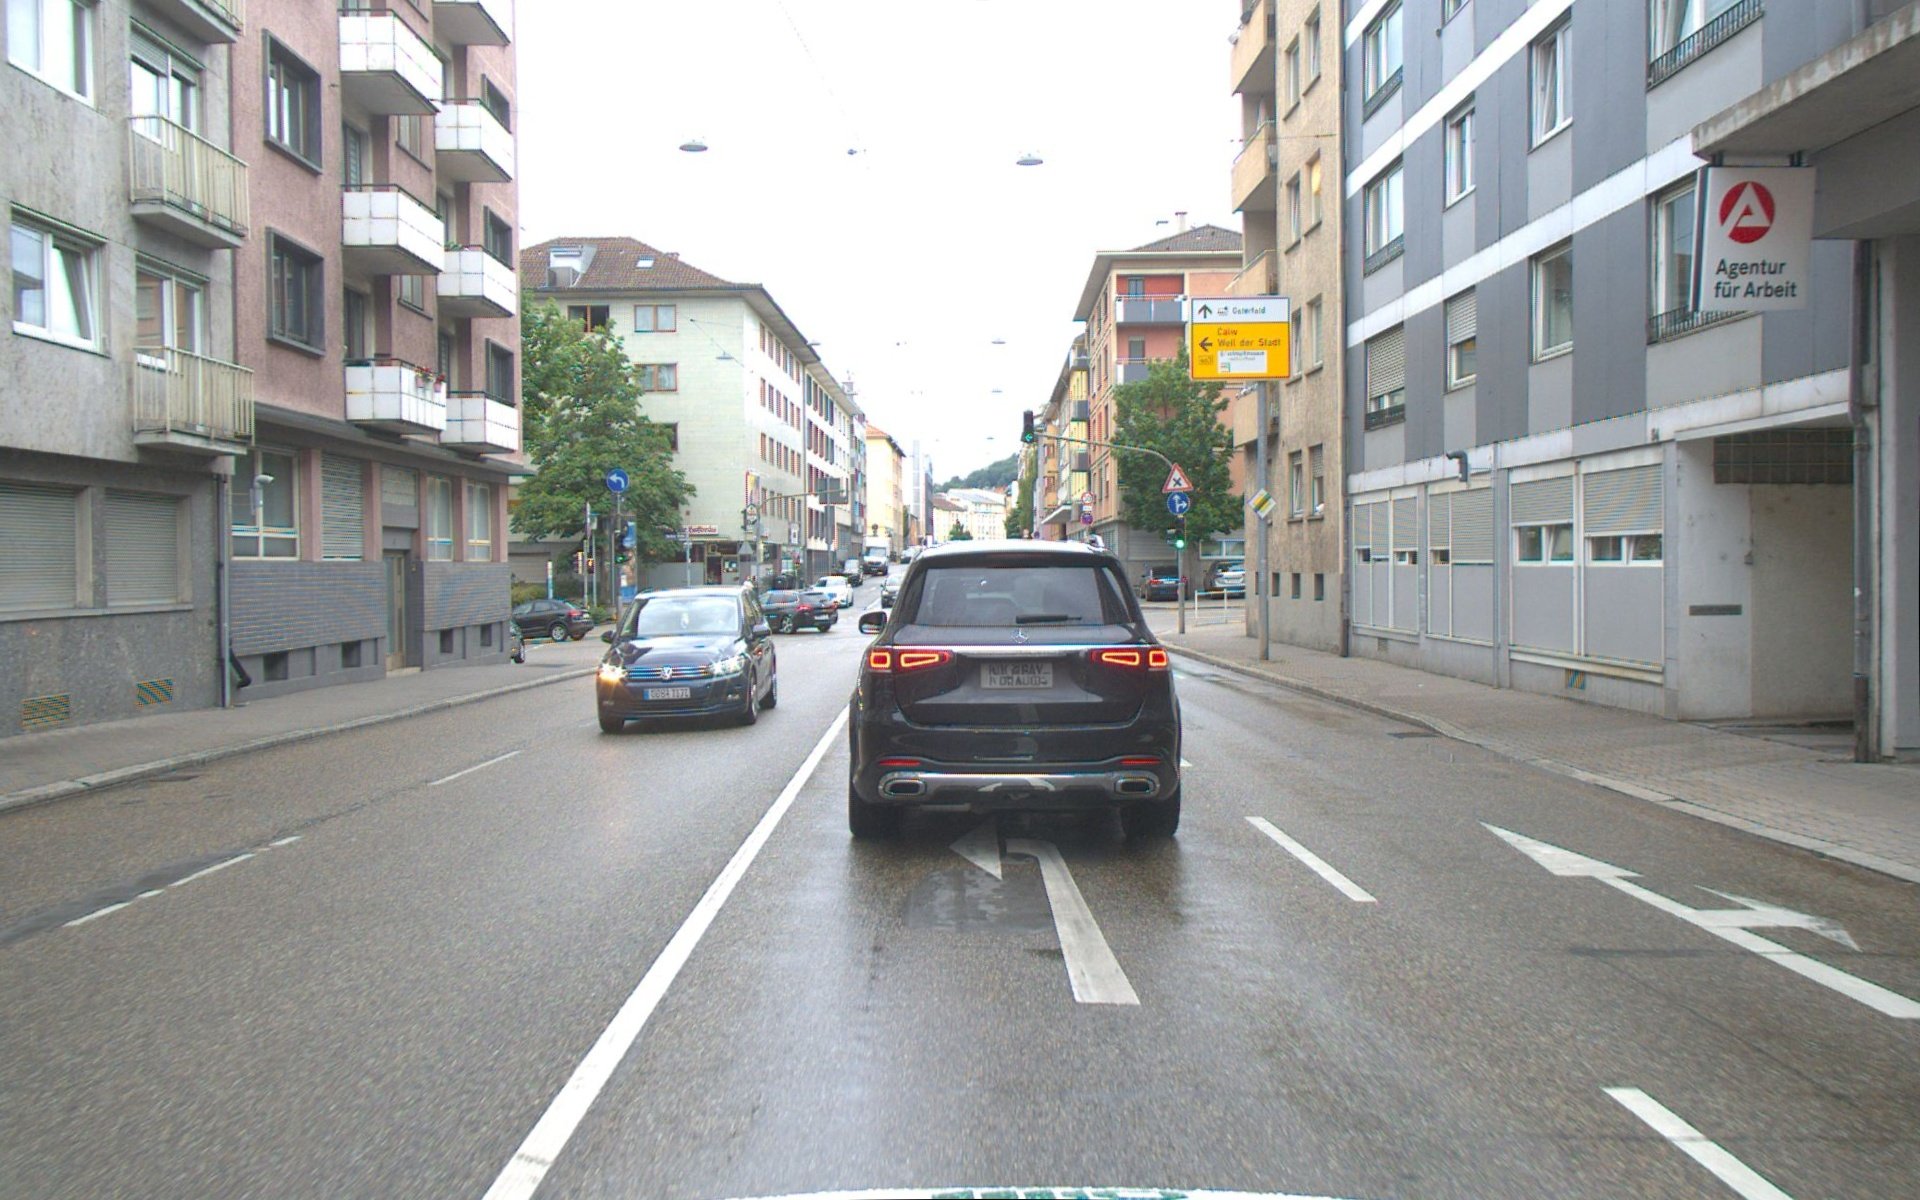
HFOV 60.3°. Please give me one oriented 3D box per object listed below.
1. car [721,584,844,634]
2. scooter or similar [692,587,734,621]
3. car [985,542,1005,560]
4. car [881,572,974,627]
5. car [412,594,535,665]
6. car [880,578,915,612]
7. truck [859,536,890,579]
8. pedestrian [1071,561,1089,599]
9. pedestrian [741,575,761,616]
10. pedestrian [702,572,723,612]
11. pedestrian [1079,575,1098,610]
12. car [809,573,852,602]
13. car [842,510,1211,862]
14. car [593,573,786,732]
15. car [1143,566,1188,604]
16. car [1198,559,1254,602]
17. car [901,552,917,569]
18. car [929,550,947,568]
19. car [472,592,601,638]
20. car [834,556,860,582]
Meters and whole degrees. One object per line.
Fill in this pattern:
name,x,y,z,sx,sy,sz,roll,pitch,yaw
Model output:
car,-6.156,0.319,57.177,4.277,1.566,1.769,-2,-1,40
scooter or similar,-11.108,0.165,74.348,0.859,1.485,1.851,-1,0,33
car,3.467,-4.862,164.493,1.689,1.790,4.216,-2,1,-3
car,-1.037,0.010,50.660,1.746,1.566,3.742,-2,-1,-19
car,-12.556,0.725,42.939,1.953,1.702,4.258,-1,0,-1
car,-3.049,-0.218,80.182,1.586,1.566,4.215,-2,0,-3
truck,-6.986,-3.441,136.011,2.430,3.099,9.914,-2,0,-3
pedestrian,6.619,-1.113,91.069,0.904,2.049,0.706,-1,0,-2
pedestrian,-9.243,-0.215,73.251,0.622,1.795,0.774,-1,0,16
pedestrian,-12.072,-0.400,80.730,0.904,1.935,0.706,-1,0,-2
pedestrian,6.788,-0.383,87.264,0.904,1.836,0.706,-1,0,-2
car,-6.209,-0.575,79.724,1.847,1.286,4.215,-2,0,-3
car,0.351,0.486,11.197,1.944,1.836,4.389,2,-1,0
car,-3.194,0.540,20.335,1.737,1.674,4.410,-2,1,-2
car,9.131,-0.675,73.662,1.636,1.616,3.331,-1,0,2
car,11.803,-0.862,73.656,1.786,1.826,3.831,-1,0,-1
car,-5.339,-4.113,172.476,1.586,1.566,4.215,-2,0,-3
car,-2.198,-4.106,166.025,1.586,1.566,4.215,-2,0,-3
car,-15.789,0.558,61.719,4.252,1.566,1.779,-2,-1,12
car,-7.522,-2.030,110.574,1.586,1.566,4.215,-2,0,-3
